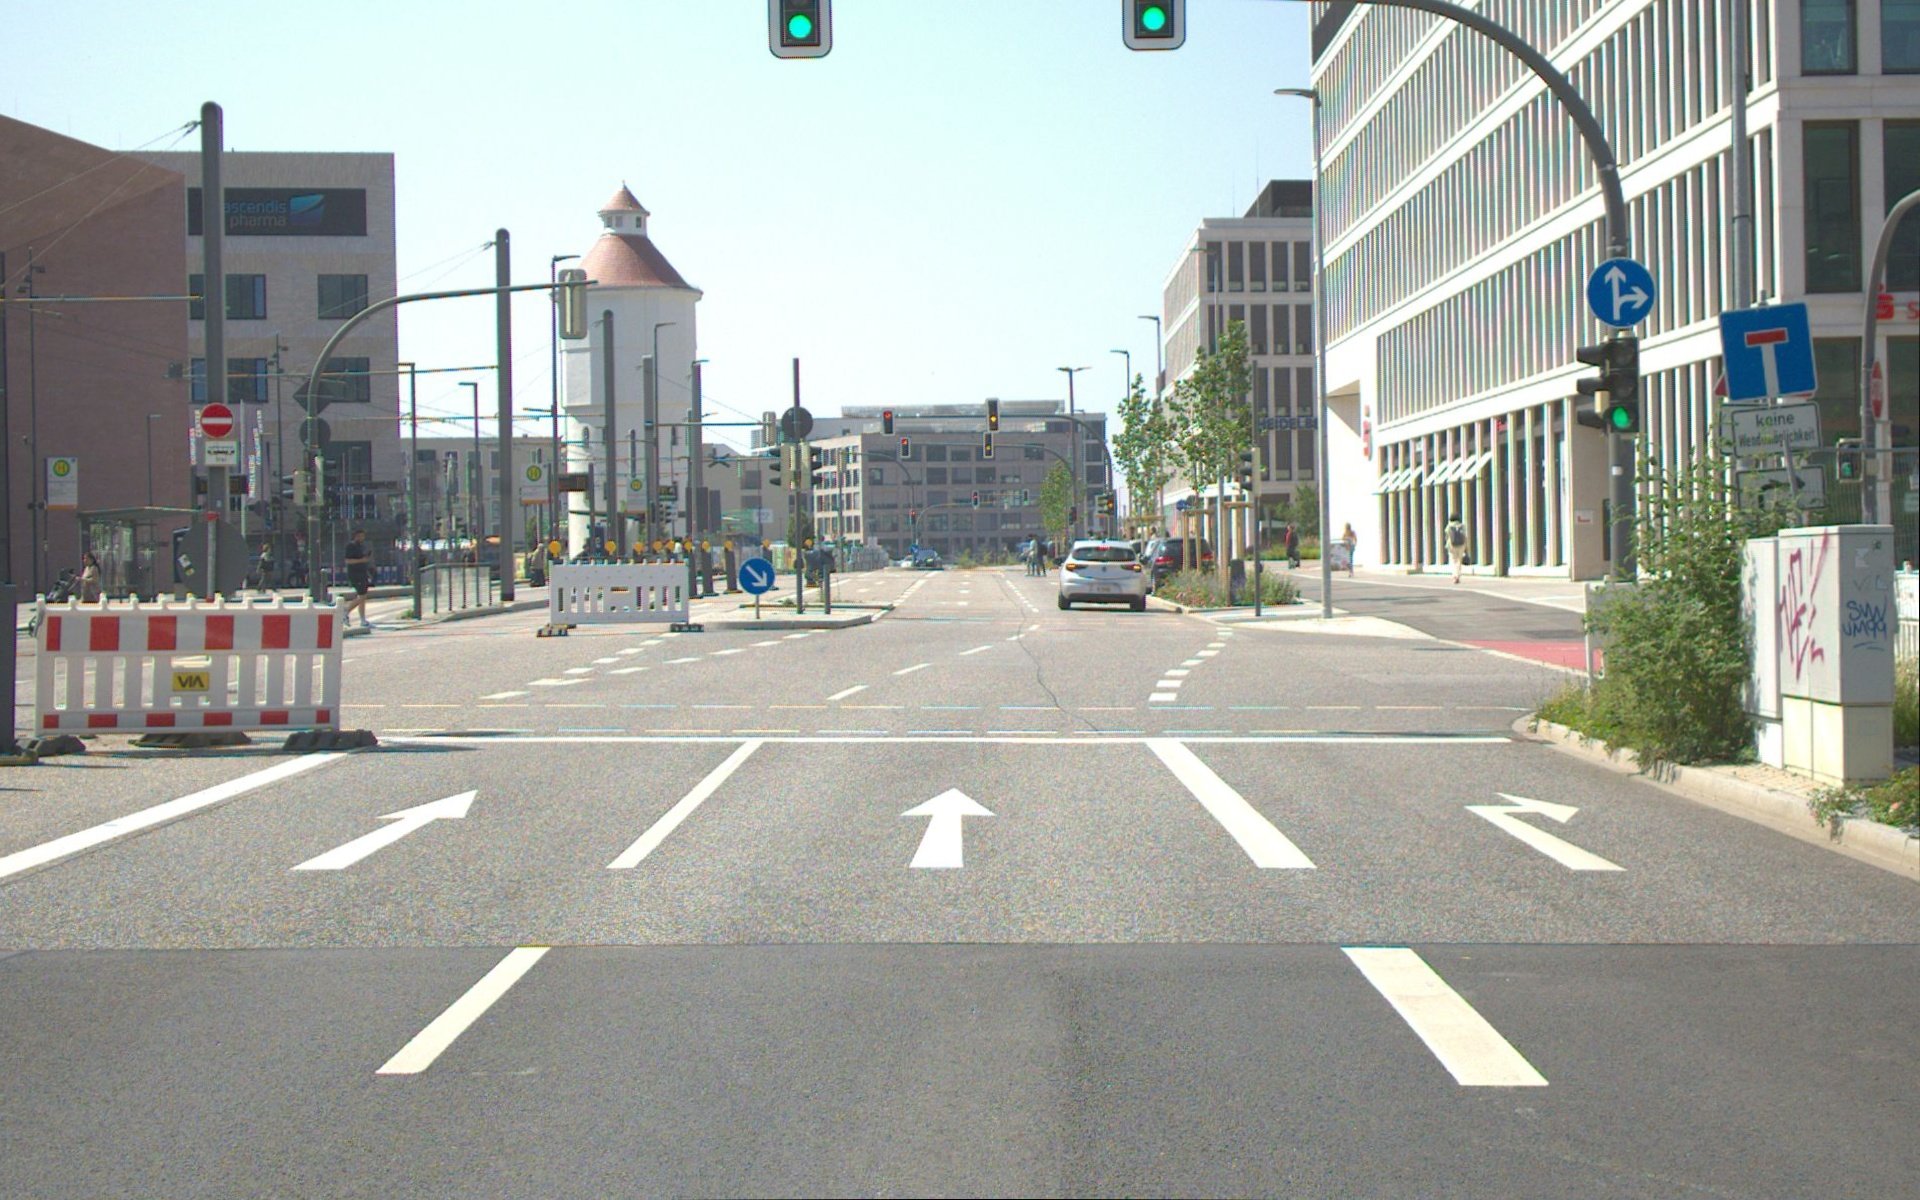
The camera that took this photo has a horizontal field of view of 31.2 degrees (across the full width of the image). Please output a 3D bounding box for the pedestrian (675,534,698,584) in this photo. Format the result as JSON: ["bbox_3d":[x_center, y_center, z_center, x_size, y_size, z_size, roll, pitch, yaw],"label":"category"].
[{"bbox_3d":[-10.554,-1.587,132.700,0.766,1.884,0.692,-1,1,1],"label":"pedestrian"}]

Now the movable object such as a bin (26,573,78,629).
[{"bbox_3d":[-17.126,0.007,64.866,0.713,1.028,0.794,-1,1,-35],"label":"movable object such as a bin"}]

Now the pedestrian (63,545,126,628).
[{"bbox_3d":[-16.452,-0.267,65.341,0.929,1.557,0.794,-1,2,-36],"label":"pedestrian"}]

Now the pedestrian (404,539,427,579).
[{"bbox_3d":[-21.134,-1.593,133.397,0.711,1.566,0.891,-1,1,0],"label":"pedestrian"}]

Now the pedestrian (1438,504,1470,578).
[{"bbox_3d":[11.801,-1.405,82.089,0.627,1.736,0.814,-1,1,0],"label":"pedestrian"}]

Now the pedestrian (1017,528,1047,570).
[{"bbox_3d":[2.918,-2.052,138.716,0.893,1.668,1.013,-1,1,-18],"label":"pedestrian"}]

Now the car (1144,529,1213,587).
[{"bbox_3d":[5.765,-1.099,90.292,1.737,1.469,3.980,0,1,5],"label":"car"}]

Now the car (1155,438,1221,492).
[{"bbox_3d":[6.316,-3.735,95.451,1.605,1.383,3.815,1,1,1],"label":"car"}]

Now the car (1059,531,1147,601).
[{"bbox_3d":[2.981,-0.695,71.883,1.772,1.390,3.531,1,0,2],"label":"car"}]

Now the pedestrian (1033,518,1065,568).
[{"bbox_3d":[3.604,-2.307,139.651,1.020,2.007,0.955,-1,1,-18],"label":"pedestrian"}]

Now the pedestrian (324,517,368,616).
[{"bbox_3d":[-11.461,-0.628,64.187,0.653,1.827,0.661,0,1,5],"label":"pedestrian"}]
